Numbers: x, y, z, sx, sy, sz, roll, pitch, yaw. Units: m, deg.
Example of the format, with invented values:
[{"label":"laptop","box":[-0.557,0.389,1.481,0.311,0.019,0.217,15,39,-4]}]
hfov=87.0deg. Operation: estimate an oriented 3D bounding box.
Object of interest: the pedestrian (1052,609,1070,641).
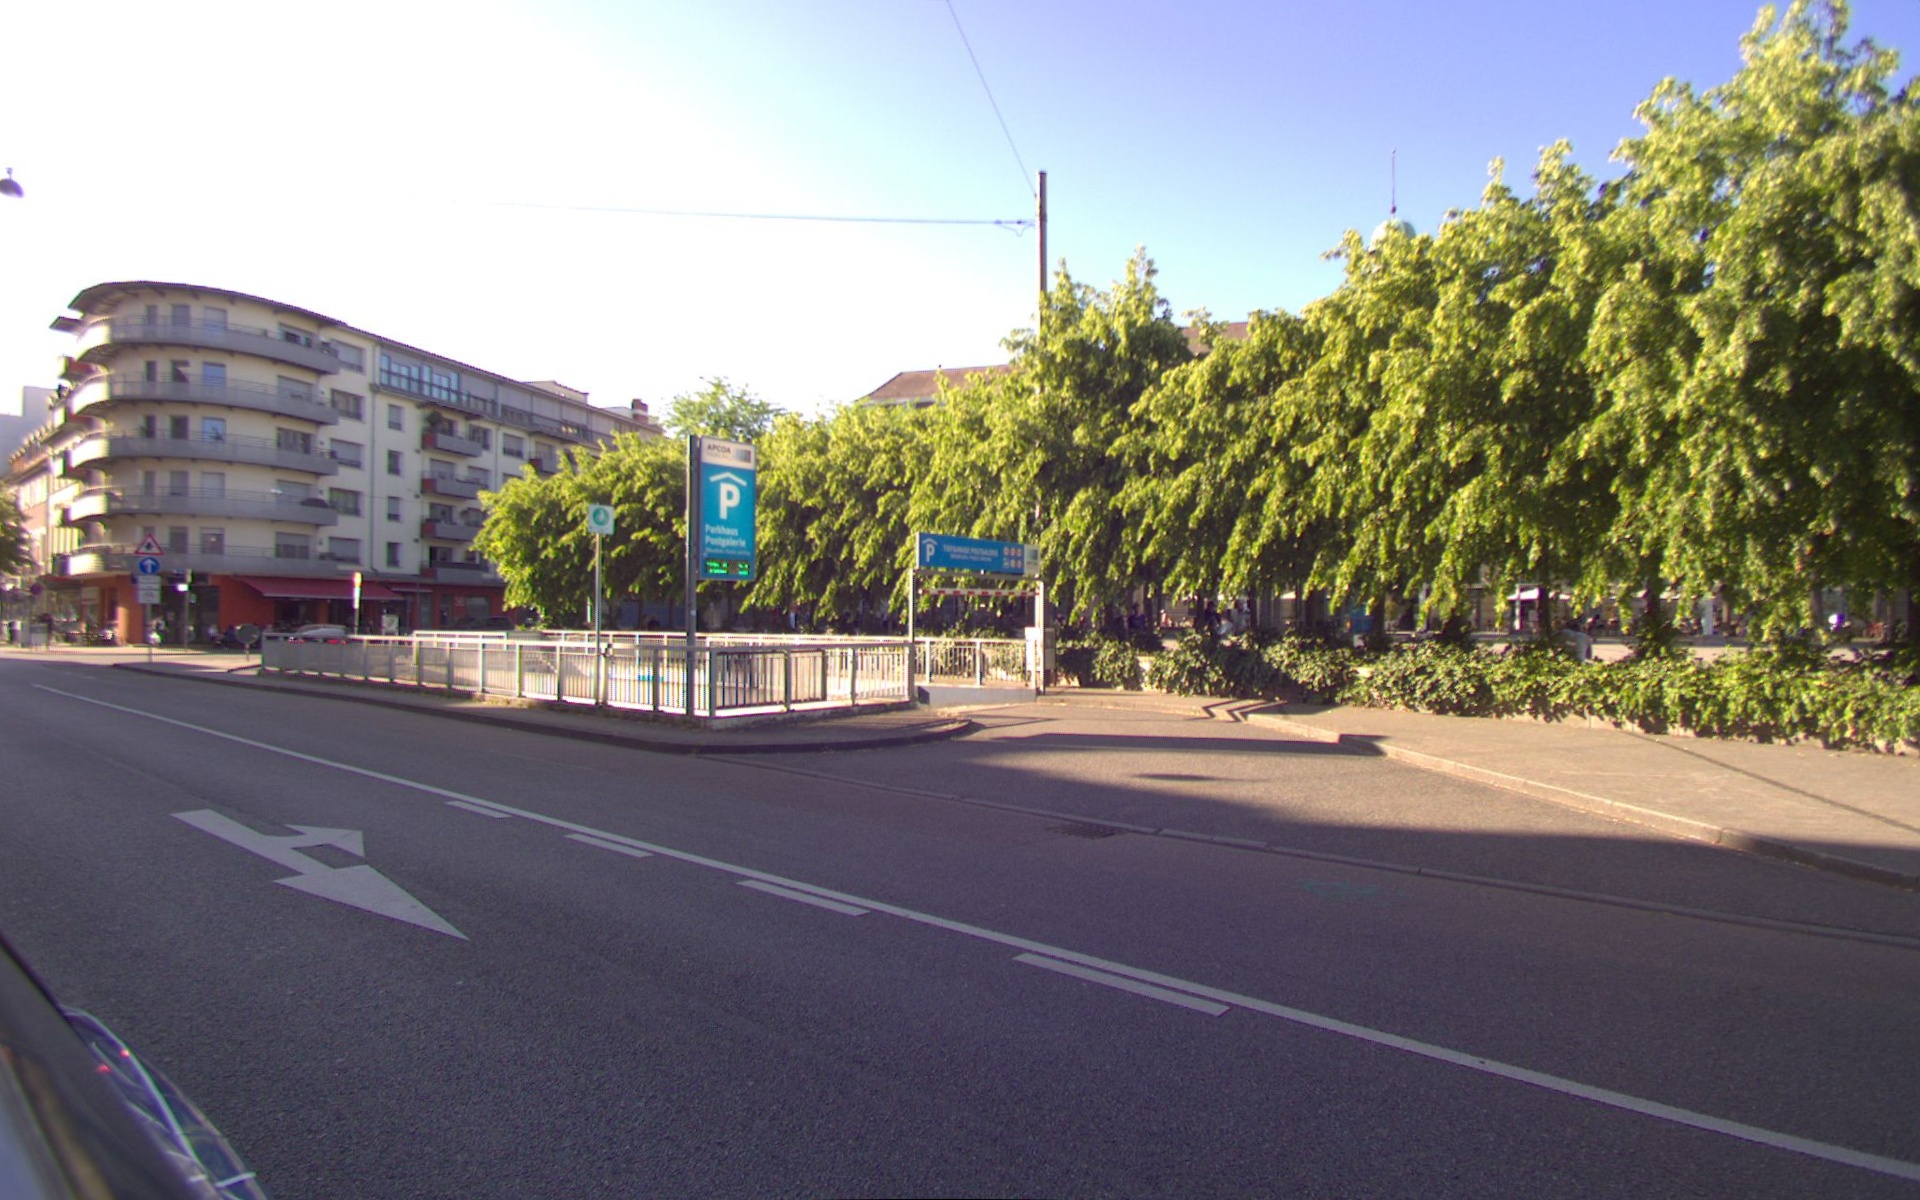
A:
[{"label":"pedestrian","box":[4.476,1.106,44.818,0.684,1.385,0.684,-1,0,1]}]

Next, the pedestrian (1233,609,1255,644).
[{"label":"pedestrian","box":[12.654,1.159,45.078,0.672,1.536,0.696,-1,0,-19]}]

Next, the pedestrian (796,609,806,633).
[{"label":"pedestrian","box":[-10.776,1.402,68.649,0.489,1.591,0.491,-1,0,16]}]

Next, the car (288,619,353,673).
[{"label":"car","box":[-21.122,1.522,33.357,1.649,1.542,4.261,-3,-1,-33]}]

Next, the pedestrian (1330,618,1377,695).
[{"label":"pedestrian","box":[7.527,1.060,19.347,0.622,1.409,0.644,-1,0,44]}]

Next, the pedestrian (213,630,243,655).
[{"label":"pedestrian","box":[-36.815,2.124,50.898,0.827,1.207,0.931,-1,0,16]}]

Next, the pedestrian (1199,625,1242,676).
[{"label":"pedestrian","box":[5.754,1.116,22.377,0.682,1.079,0.686,-1,0,-13]}]

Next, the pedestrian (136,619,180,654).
[{"label":"pedestrian","box":[-39.453,1.794,49.813,1.255,1.678,1.140,-1,0,0]}]

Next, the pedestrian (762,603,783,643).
[{"label":"pedestrian","box":[-9.056,1.101,48.953,0.681,1.877,0.741,-1,0,27]}]

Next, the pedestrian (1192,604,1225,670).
[{"label":"pedestrian","box":[5.828,0.851,23.737,0.688,1.511,0.680,-1,0,19]}]

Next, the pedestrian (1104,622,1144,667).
[{"label":"pedestrian","box":[4.048,1.090,25.051,0.682,1.079,0.686,-1,0,-29]}]

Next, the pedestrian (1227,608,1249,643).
[{"label":"pedestrian","box":[12.603,1.159,45.826,0.672,1.542,0.696,-1,0,-18]}]

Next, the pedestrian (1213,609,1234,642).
[{"label":"pedestrian","box":[12.099,1.166,46.517,0.673,1.535,0.695,-1,0,-7]}]

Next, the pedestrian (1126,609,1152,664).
[{"label":"pedestrian","box":[4.599,0.929,25.980,0.545,1.385,0.680,-1,0,19]}]

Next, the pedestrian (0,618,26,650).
[{"label":"pedestrian","box":[-52.556,1.851,56.119,1.052,1.732,1.083,-1,0,-39]}]

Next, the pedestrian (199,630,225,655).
[{"label":"pedestrian","box":[-37.636,2.135,50.942,0.882,1.207,0.772,-1,0,30]}]

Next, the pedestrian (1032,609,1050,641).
[{"label":"pedestrian","box":[3.581,1.118,44.855,0.752,1.385,0.684,-1,0,1]}]

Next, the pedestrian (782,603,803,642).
[{"label":"pedestrian","box":[-8.232,1.100,49.766,0.681,1.857,0.741,-1,0,27]}]

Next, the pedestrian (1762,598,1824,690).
[{"label":"pedestrian","box":[14.247,0.730,17.325,0.691,1.532,0.677,-1,0,30]}]

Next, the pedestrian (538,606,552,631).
[{"label":"pedestrian","box":[-31.110,1.396,75.881,0.684,1.857,0.737,-1,0,41]}]

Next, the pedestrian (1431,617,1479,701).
[{"label":"pedestrian","box":[8.755,1.025,17.900,0.621,1.447,0.645,-1,0,39]}]

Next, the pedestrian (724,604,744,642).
[{"label":"pedestrian","box":[-11.263,1.130,50.436,0.679,1.857,0.743,-1,0,19]}]

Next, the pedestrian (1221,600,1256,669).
[{"label":"pedestrian","box":[6.596,0.799,23.981,0.517,1.594,0.686,-1,0,-15]}]

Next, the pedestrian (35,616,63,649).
[{"label":"pedestrian","box":[-49.771,1.779,55.299,0.962,1.762,1.047,-1,0,41]}]

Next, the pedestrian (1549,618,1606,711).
[{"label":"pedestrian","box":[9.811,1.011,16.091,0.611,1.447,0.588,-1,0,14]}]
